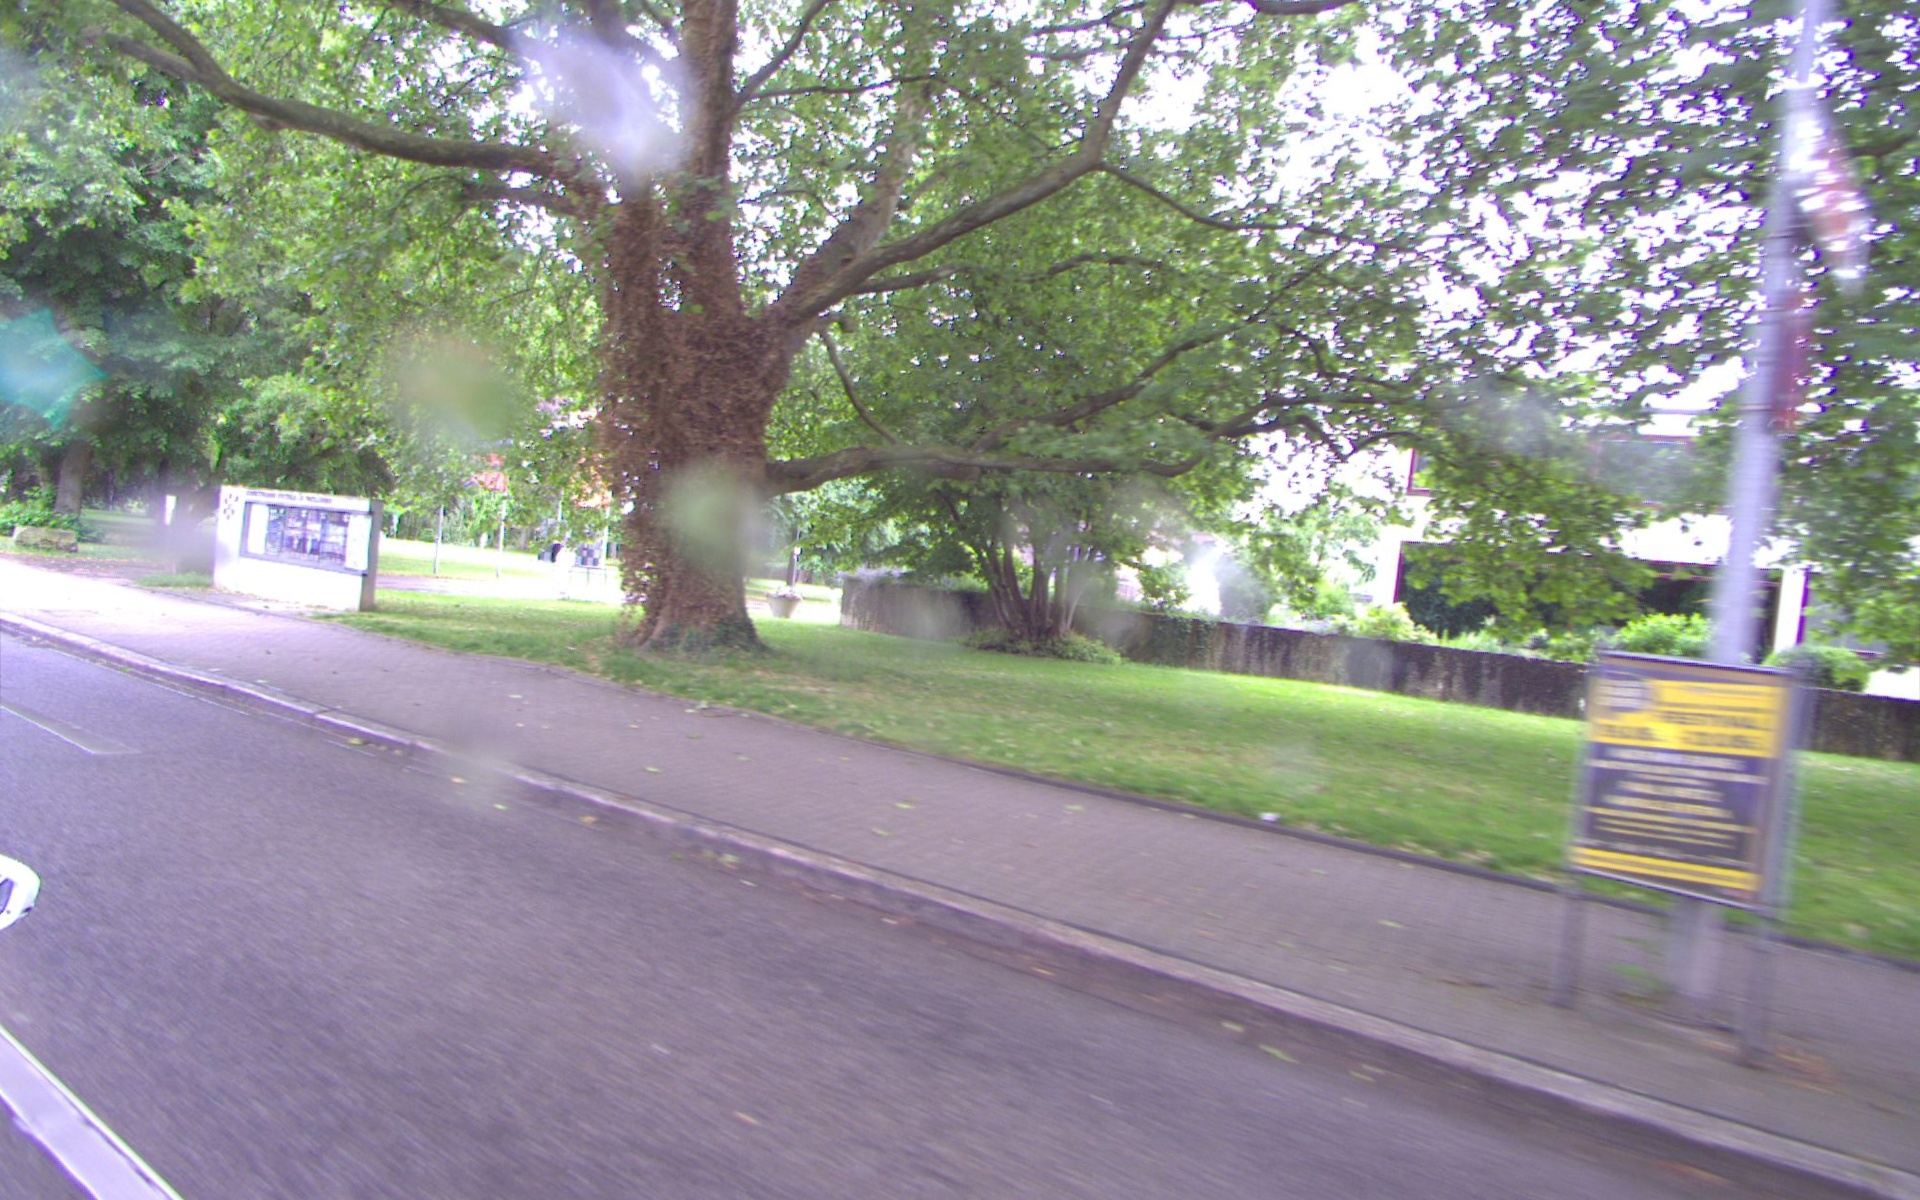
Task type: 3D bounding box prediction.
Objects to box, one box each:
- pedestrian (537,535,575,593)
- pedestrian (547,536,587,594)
[{"bbox_3d":[-13.215,-1.171,32.941,0.711,1.776,0.666,6,-1,23],"label":"pedestrian"},{"bbox_3d":[-12.578,-1.121,32.203,0.776,1.732,0.666,6,-1,23],"label":"pedestrian"}]
